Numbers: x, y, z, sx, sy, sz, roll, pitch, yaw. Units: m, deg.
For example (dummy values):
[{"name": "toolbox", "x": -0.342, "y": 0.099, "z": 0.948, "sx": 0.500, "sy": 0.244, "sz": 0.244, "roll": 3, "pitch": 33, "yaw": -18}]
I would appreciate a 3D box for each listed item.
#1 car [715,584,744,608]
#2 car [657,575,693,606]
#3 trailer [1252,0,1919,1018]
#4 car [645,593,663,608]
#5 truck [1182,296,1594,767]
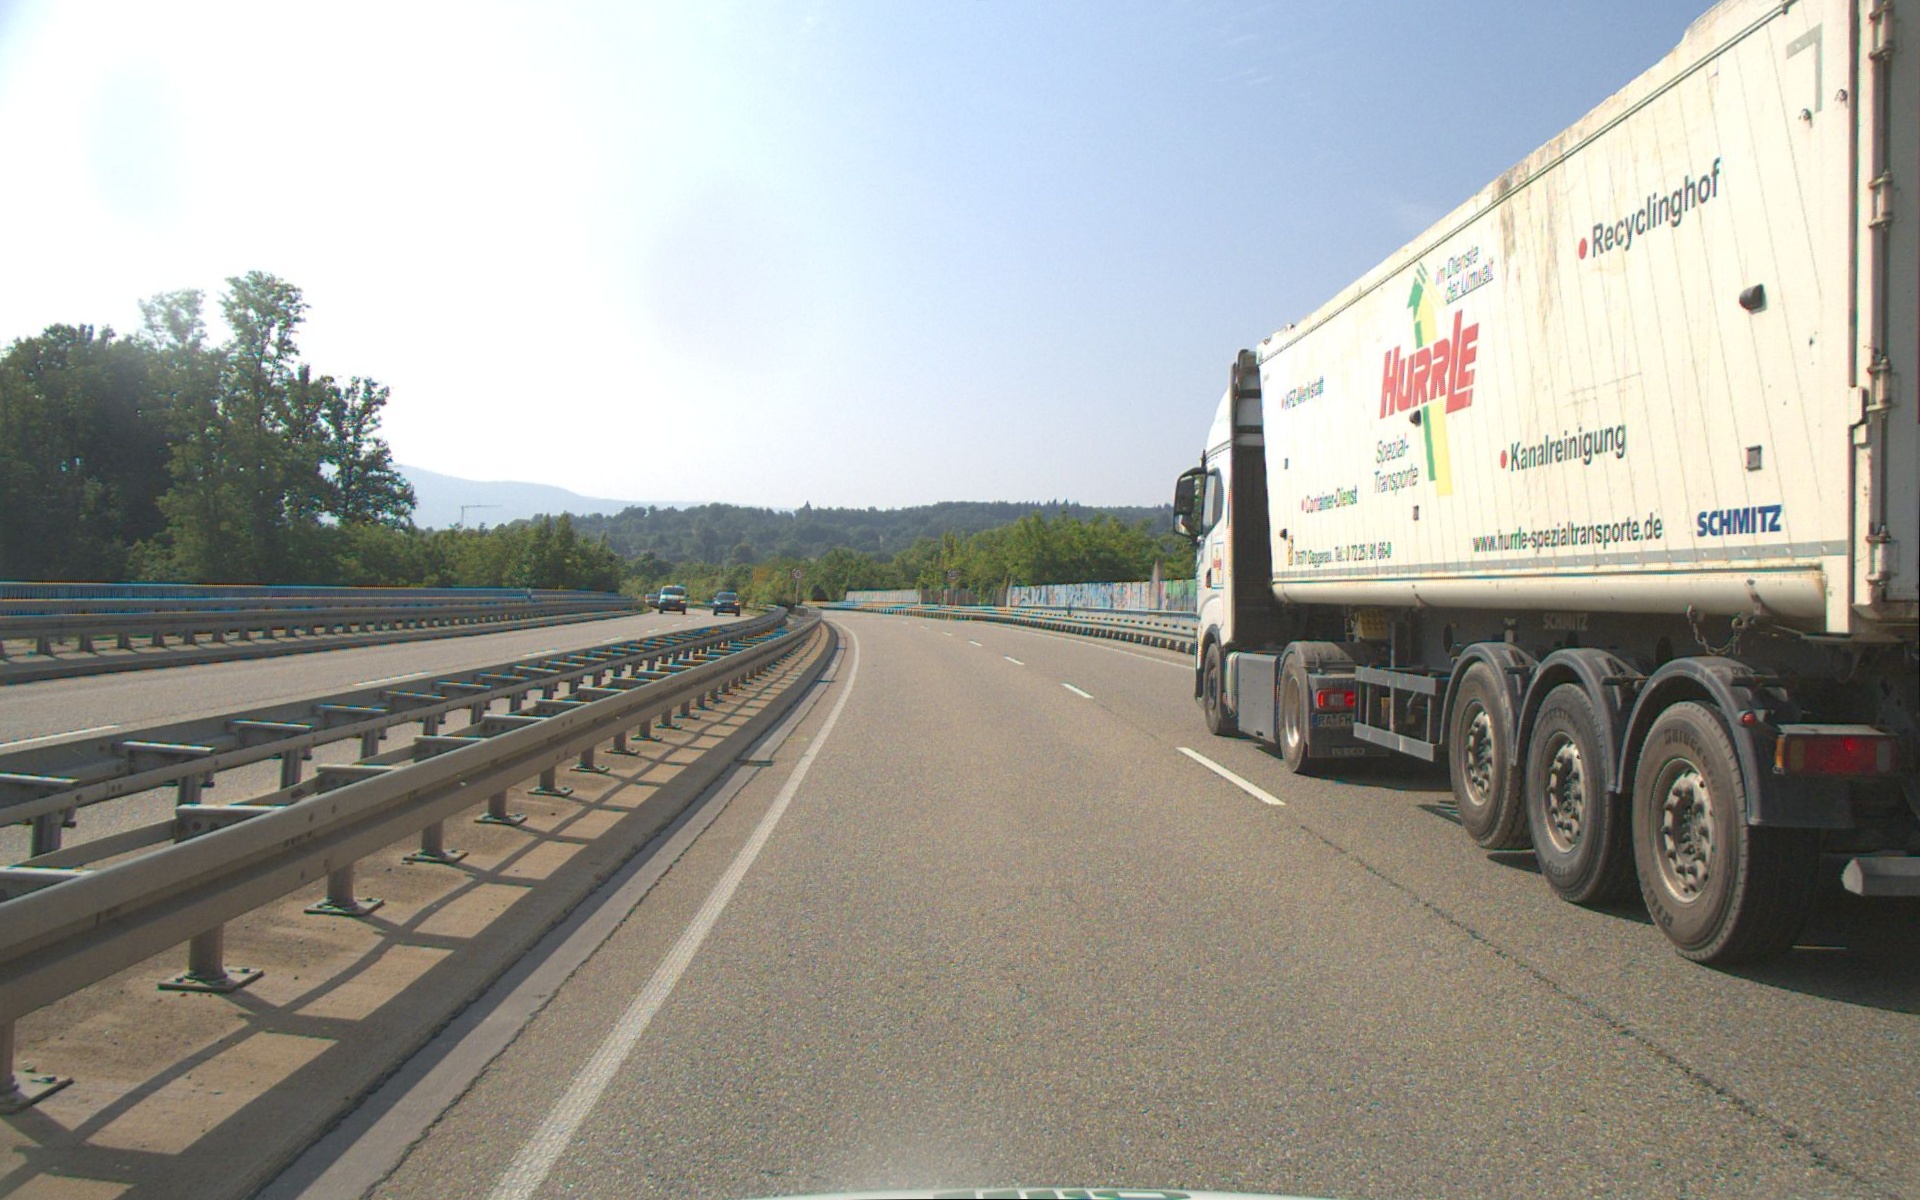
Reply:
[{"name": "car", "x": -16.660, "y": -0.303, "z": 119.769, "sx": 1.829, "sy": 1.635, "sz": 4.413, "roll": 2, "pitch": 0, "yaw": -5}, {"name": "car", "x": -20.111, "y": -0.668, "z": 116.802, "sx": 1.999, "sy": 2.041, "sz": 5.302, "roll": 2, "pitch": 0, "yaw": -5}, {"name": "trailer", "x": 4.165, "y": -0.555, "z": 10.720, "sx": 2.625, "sy": 3.975, "sz": 9.671, "roll": 1, "pitch": 1, "yaw": -1}, {"name": "car", "x": -34.973, "y": 0.080, "z": 189.157, "sx": 1.691, "sy": 1.624, "sz": 3.993, "roll": 3, "pitch": 0, "yaw": -8}, {"name": "truck", "x": 4.016, "y": -0.626, "z": 16.881, "sx": 2.604, "sy": 3.964, "sz": 5.647, "roll": 1, "pitch": 1, "yaw": -1}]
